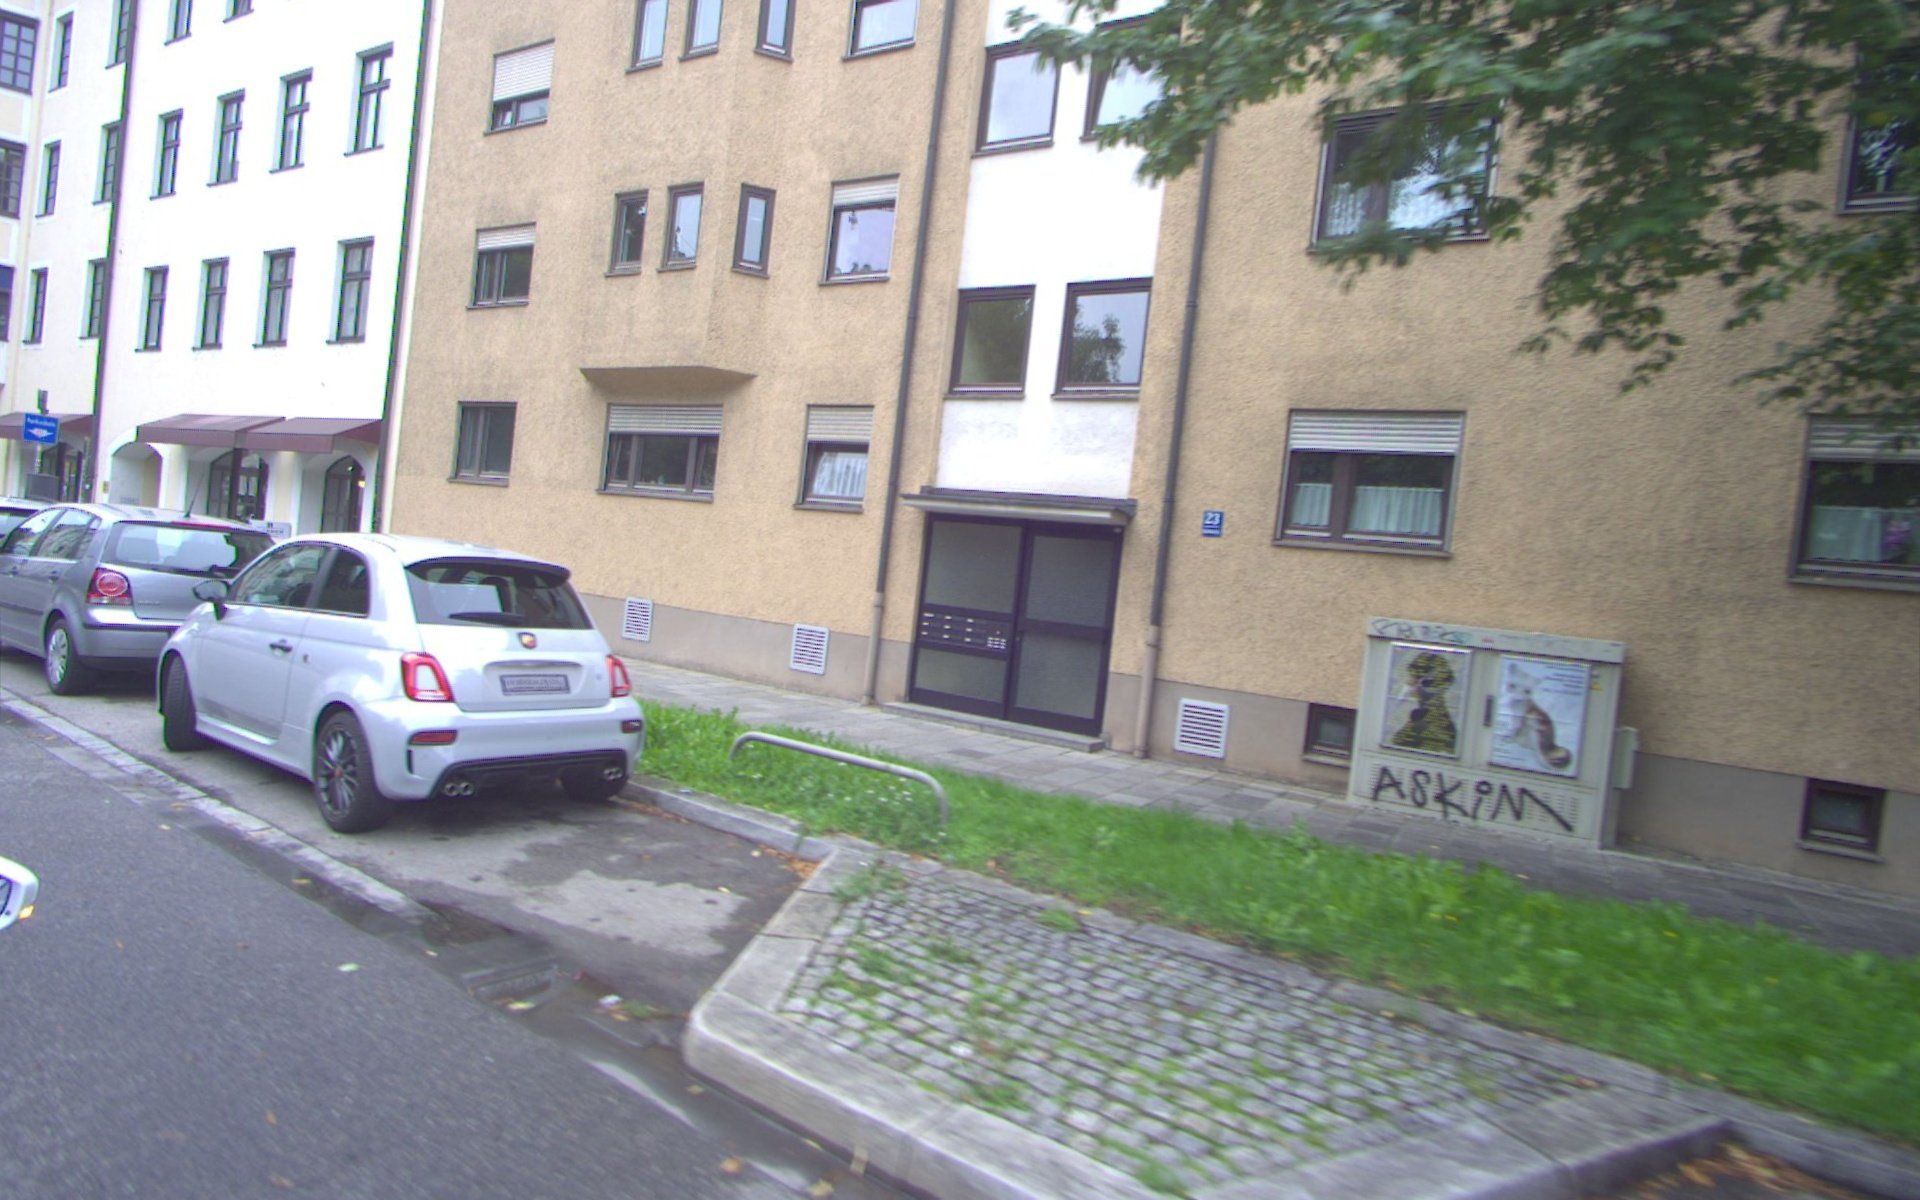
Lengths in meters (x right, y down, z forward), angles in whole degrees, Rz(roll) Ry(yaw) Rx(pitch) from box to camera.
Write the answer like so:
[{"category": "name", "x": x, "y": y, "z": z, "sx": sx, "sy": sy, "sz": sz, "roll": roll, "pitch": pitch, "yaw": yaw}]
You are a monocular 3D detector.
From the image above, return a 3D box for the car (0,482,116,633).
[{"category": "car", "x": -11.567, "y": -0.646, "z": 11.537, "sx": 4.362, "sy": 1.516, "sz": 1.690, "roll": 7, "pitch": 2, "yaw": 34}]

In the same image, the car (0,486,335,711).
[{"category": "car", "x": -7.298, "y": -0.115, "z": 8.815, "sx": 3.725, "sy": 1.516, "sz": 1.628, "roll": 7, "pitch": 2, "yaw": 33}]

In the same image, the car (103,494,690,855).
[{"category": "car", "x": -3.664, "y": 0.271, "z": 6.335, "sx": 3.759, "sy": 1.516, "sz": 1.628, "roll": 7, "pitch": 2, "yaw": 33}]

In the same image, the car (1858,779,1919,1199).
[{"category": "car", "x": 3.979, "y": 1.172, "z": 0.935, "sx": 4.304, "sy": 1.517, "sz": 1.791, "roll": 7, "pitch": 3, "yaw": 33}]
